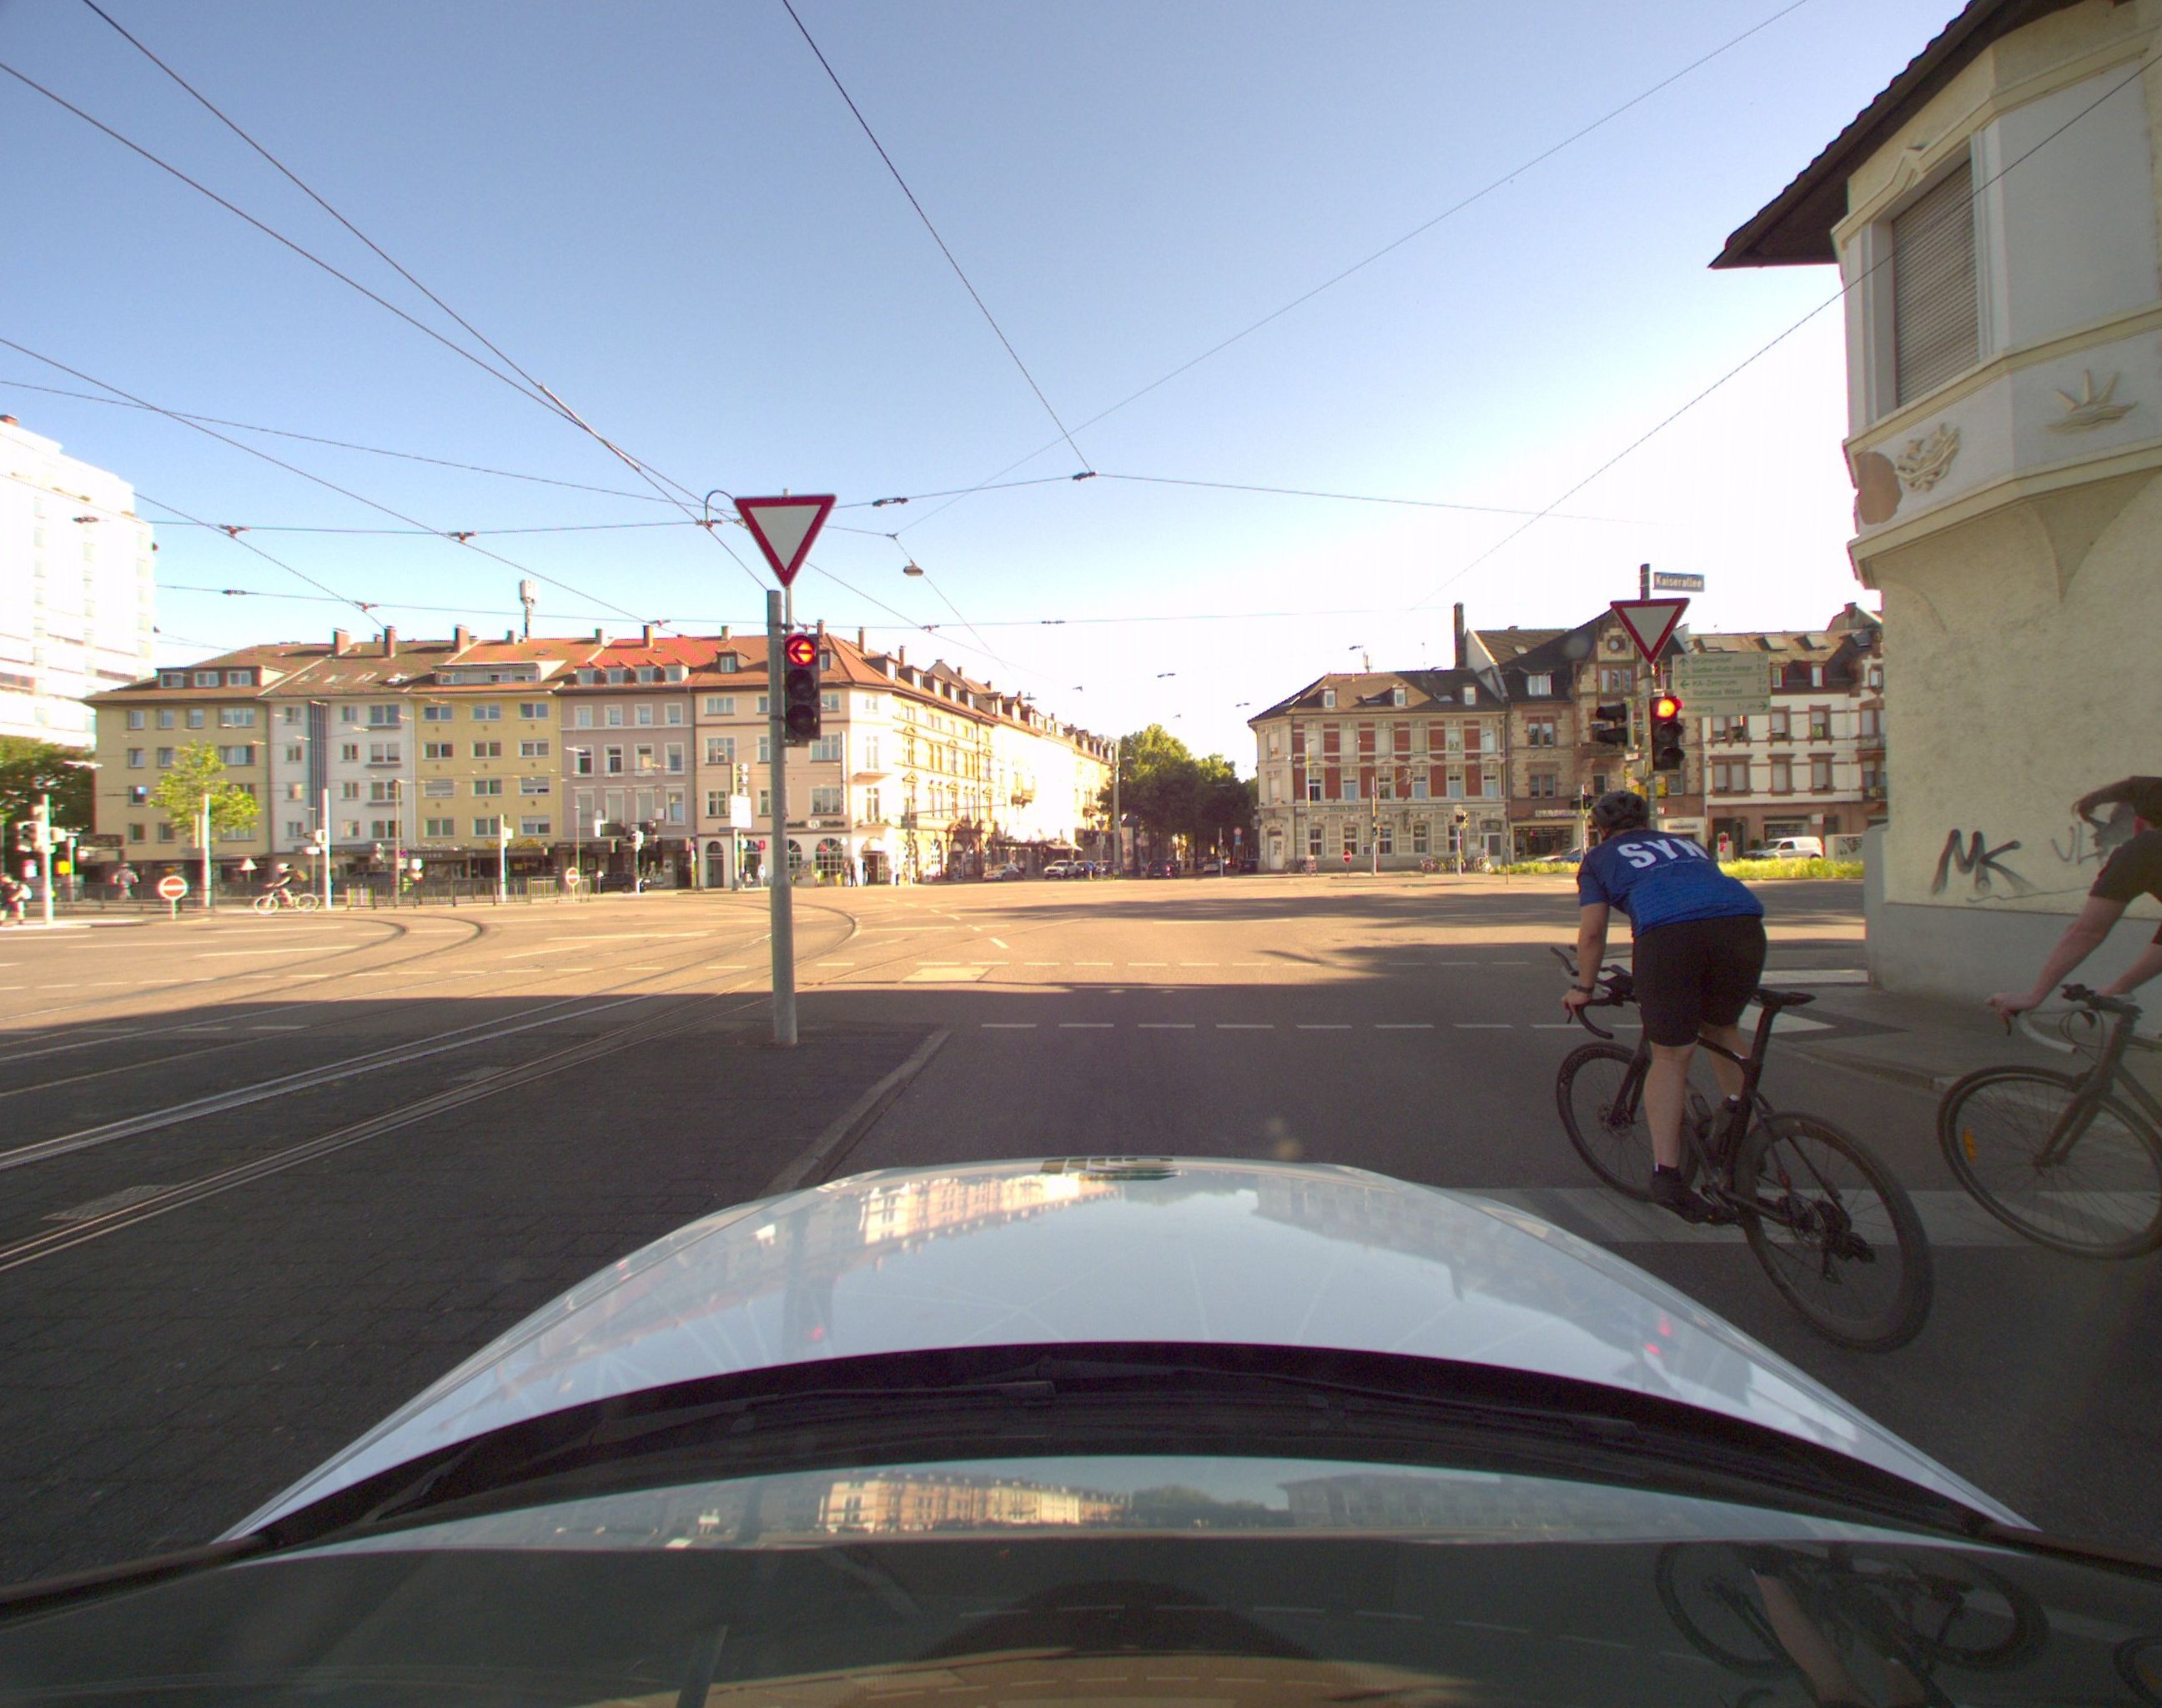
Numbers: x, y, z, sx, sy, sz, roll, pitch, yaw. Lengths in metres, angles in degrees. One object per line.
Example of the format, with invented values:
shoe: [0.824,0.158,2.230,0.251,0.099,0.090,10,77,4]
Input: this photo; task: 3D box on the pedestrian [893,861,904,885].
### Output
pedestrian: [-12.635,1.337,56.366,0.631,1.634,0.700,0,-1,-2]

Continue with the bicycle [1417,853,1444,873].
bicycle: [22.483,0.569,52.447,0.689,1.287,2.663,0,-1,3]

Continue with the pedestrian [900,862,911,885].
pedestrian: [-12.379,1.386,57.575,0.631,1.634,0.700,0,-1,-2]

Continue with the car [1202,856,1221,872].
car: [13.240,1.020,82.739,1.761,1.530,4.009,-1,-1,8]

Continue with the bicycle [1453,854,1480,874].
bicycle: [24.777,0.627,52.386,0.626,1.287,2.663,0,-1,3]

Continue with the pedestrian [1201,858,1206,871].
pedestrian: [16.438,1.427,109.392,0.635,1.796,0.492,-1,-1,14]

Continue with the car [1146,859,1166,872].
car: [11.338,1.729,122.684,1.977,1.904,4.019,-1,-1,19]

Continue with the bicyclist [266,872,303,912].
bicyclist: [-27.659,1.316,28.291,0.553,1.366,0.808,-1,-1,33]

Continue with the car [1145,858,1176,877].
car: [5.789,0.959,58.666,1.742,1.362,3.869,-1,-1,13]

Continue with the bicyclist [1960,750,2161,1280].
bicyclist: [3.676,0.487,2.584,0.803,1.606,0.883,0,-1,0]

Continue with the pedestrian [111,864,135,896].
pedestrian: [-49.079,1.316,41.705,0.523,1.628,0.577,0,-1,0]

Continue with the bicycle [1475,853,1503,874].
bicycle: [26.199,0.610,52.354,0.626,1.287,2.663,0,-1,3]

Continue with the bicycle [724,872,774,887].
bicycle: [-23.423,1.790,57.466,3.118,0.980,1.002,0,-1,1]

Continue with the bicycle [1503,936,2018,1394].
bicycle: [2.300,0.934,3.089,0.623,1.085,1.705,0,-1,5]

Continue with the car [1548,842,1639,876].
car: [28.344,0.283,45.138,3.769,1.778,2.000,0,-1,1]

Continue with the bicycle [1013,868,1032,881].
bicycle: [-4.729,1.635,65.558,0.756,1.008,2.406,-1,-1,16]

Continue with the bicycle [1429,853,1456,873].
bicycle: [23.263,0.586,52.422,0.689,1.287,2.663,0,-1,3]

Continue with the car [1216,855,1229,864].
car: [23.289,0.915,134.339,1.546,1.513,3.673,-1,-1,19]

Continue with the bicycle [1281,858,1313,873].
bicycle: [15.083,0.788,56.890,2.040,0.998,0.631,-1,-1,4]

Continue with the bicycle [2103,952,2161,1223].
bicycle: [4.485,0.910,2.446,0.647,1.031,1.772,0,-1,3]

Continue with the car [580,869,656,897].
car: [-30.587,1.918,53.818,3.962,1.670,2.006,-2,0,10]

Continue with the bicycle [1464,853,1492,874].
bicycle: [25.504,0.619,52.382,0.626,1.287,2.663,0,-1,3]

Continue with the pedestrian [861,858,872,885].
pedestrian: [-14.801,1.207,56.271,0.631,1.881,0.465,0,-1,-2]

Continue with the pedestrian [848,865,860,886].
pedestrian: [-15.397,1.455,55.219,0.631,1.477,0.465,0,-1,-2]

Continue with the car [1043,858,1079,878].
car: [-1.625,1.166,67.601,1.979,1.618,4.015,-1,-1,14]

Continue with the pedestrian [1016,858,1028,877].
pedestrian: [-4.757,1.105,65.490,0.814,1.512,0.601,-1,-1,16]

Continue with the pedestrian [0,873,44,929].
pedestrian: [-31.730,1.392,24.275,0.697,1.634,0.681,0,-1,-3]

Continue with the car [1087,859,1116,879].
car: [2.028,1.402,79.754,1.979,1.904,4.015,-1,-1,14]

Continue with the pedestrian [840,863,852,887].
pedestrian: [-16.113,1.441,55.842,0.631,1.612,0.465,0,-1,-2]

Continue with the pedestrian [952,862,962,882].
pedestrian: [-10.061,1.467,66.141,0.539,1.631,0.709,-1,-1,15]

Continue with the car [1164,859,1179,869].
car: [14.692,1.638,131.848,1.546,1.513,3.673,-1,-1,19]

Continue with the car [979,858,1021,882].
car: [-6.669,1.321,67.410,1.977,1.904,4.019,-1,-1,19]

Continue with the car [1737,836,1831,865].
car: [45.313,-0.228,52.567,4.349,1.778,2.000,0,-1,1]

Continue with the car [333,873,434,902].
car: [-39.744,1.895,46.448,4.147,1.618,1.955,0,-1,3]

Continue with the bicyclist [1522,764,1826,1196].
bicyclist: [2.299,0.430,3.280,0.635,1.494,0.885,0,1,6]

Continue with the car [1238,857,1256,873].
car: [16.821,1.133,82.362,1.680,1.565,3.855,-1,-1,14]

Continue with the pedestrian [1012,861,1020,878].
pedestrian: [-6.119,1.436,76.807,0.539,1.631,0.709,-1,-1,15]

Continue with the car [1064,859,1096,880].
car: [-0.042,1.369,73.831,1.979,1.904,4.015,-1,-1,14]

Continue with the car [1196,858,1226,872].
car: [18.343,1.561,114.724,3.955,1.904,2.009,-1,-1,17]

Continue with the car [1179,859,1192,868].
car: [18.272,1.719,142.179,1.546,1.513,3.673,-1,-1,19]

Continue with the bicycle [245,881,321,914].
bicycle: [-27.690,1.482,28.298,0.567,1.070,1.806,-1,-1,32]

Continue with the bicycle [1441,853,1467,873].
bicycle: [23.986,0.571,52.415,0.626,1.287,2.663,0,-1,3]

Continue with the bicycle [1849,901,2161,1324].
bicycle: [3.671,0.815,2.643,0.752,1.236,1.702,0,-1,0]

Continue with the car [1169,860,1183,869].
car: [15.886,1.720,136.136,1.546,1.513,3.673,-1,-1,19]
